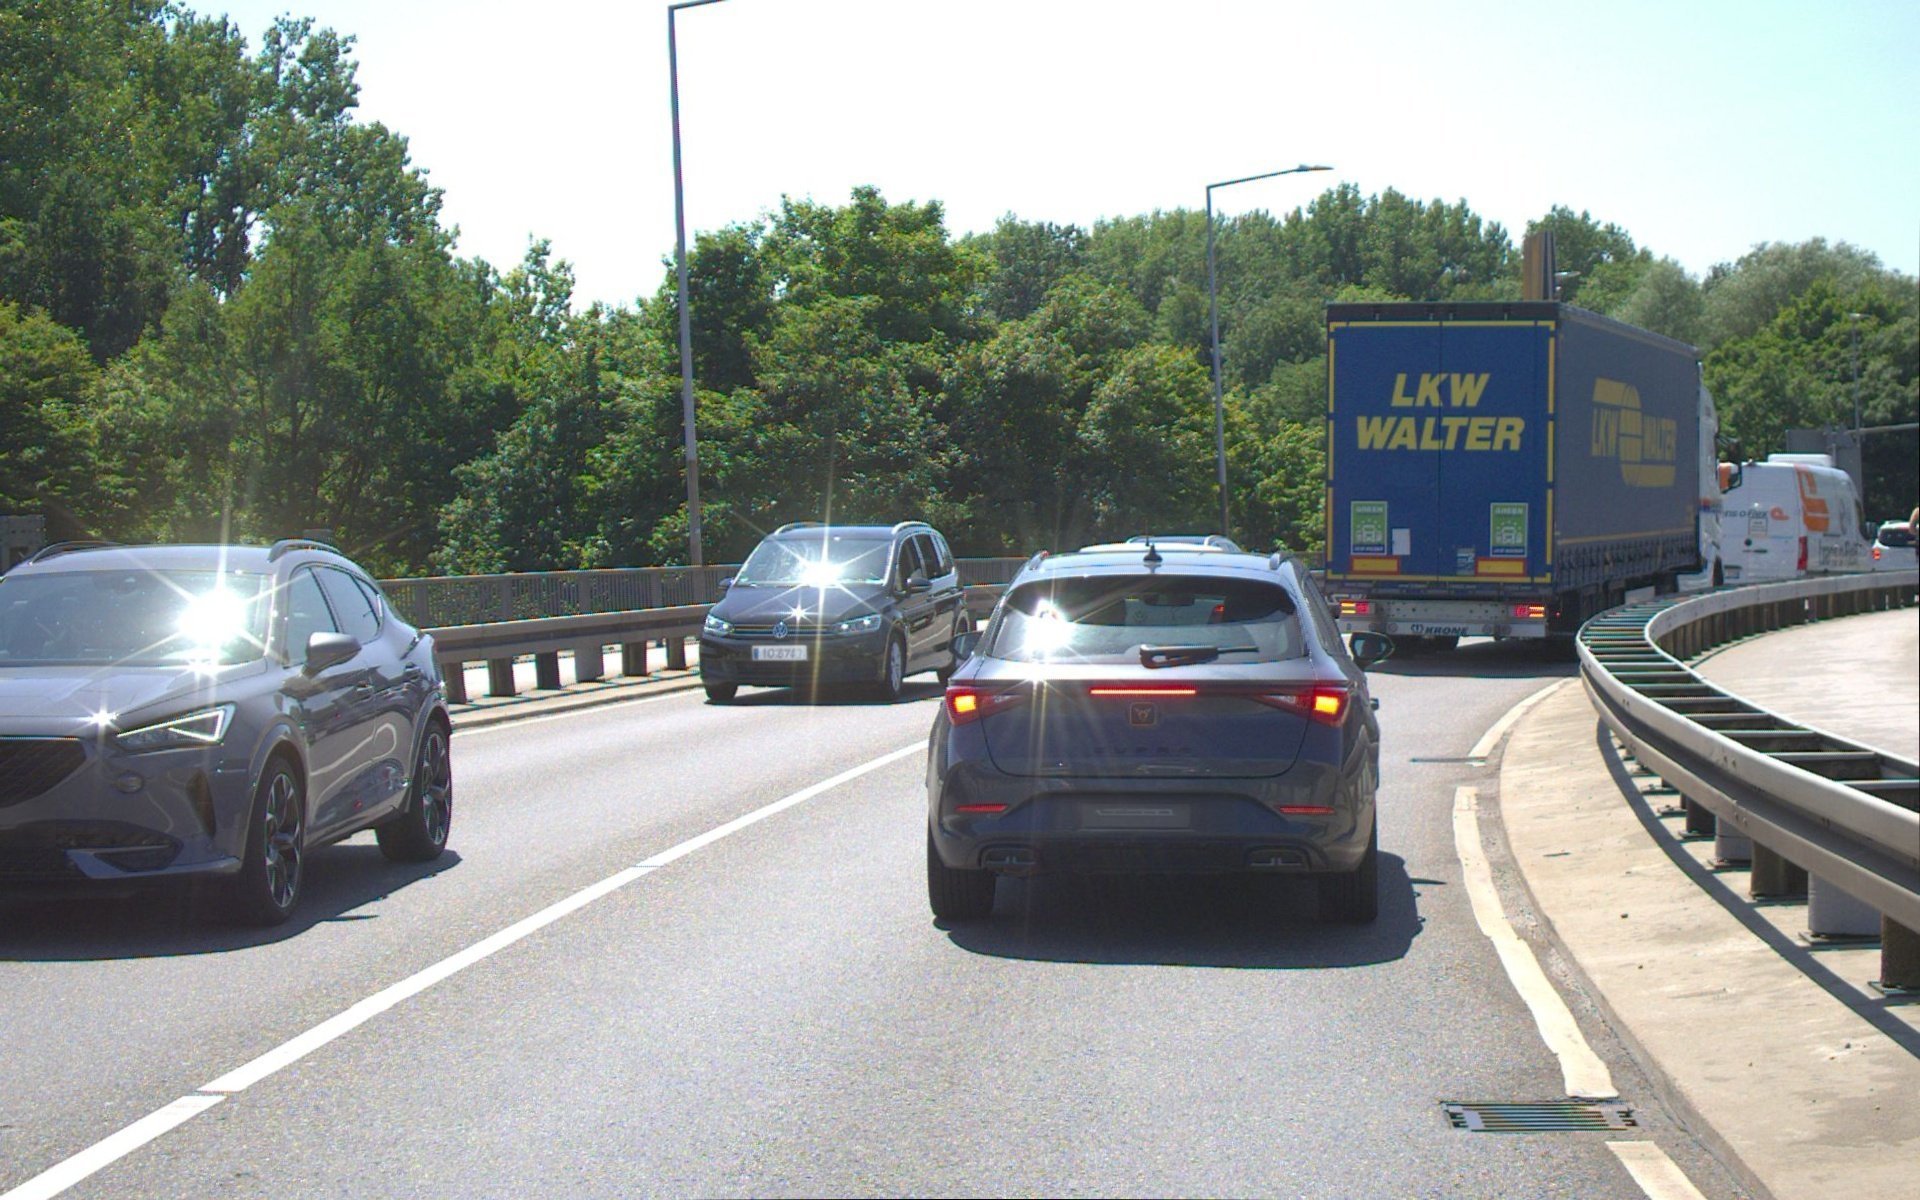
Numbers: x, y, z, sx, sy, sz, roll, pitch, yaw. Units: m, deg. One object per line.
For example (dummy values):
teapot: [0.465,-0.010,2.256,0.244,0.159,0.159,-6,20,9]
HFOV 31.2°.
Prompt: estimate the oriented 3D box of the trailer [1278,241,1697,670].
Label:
trailer: [7.014,-1.606,43.459,3.137,4.598,12.936,1,1,18]

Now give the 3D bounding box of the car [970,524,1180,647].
car: [1.524,-0.196,44.298,1.704,1.505,3.578,-1,0,19]

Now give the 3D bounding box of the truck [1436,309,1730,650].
truck: [9.205,-1.634,50.084,3.173,4.569,7.390,0,0,18]

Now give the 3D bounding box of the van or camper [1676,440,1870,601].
van or camper: [14.479,-1.416,60.972,2.206,2.702,5.918,0,2,25]

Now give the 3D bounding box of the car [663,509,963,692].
car: [-1.305,-0.010,32.330,1.907,1.584,3.998,-1,0,11]

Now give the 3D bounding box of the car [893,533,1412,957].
car: [0.751,0.480,14.144,1.845,1.493,3.758,0,1,2]

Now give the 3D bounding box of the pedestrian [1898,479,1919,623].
pedestrian: [13.268,-0.667,47.117,0.737,1.961,0.734,0,0,19]

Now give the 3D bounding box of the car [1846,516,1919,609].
car: [19.530,-0.755,70.150,1.891,1.843,3.994,0,0,28]

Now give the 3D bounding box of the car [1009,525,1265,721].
car: [1.490,0.158,27.805,1.594,1.456,3.543,1,1,11]

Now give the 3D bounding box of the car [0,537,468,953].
car: [-3.483,0.509,14.579,1.887,1.491,4.315,-1,0,4]
